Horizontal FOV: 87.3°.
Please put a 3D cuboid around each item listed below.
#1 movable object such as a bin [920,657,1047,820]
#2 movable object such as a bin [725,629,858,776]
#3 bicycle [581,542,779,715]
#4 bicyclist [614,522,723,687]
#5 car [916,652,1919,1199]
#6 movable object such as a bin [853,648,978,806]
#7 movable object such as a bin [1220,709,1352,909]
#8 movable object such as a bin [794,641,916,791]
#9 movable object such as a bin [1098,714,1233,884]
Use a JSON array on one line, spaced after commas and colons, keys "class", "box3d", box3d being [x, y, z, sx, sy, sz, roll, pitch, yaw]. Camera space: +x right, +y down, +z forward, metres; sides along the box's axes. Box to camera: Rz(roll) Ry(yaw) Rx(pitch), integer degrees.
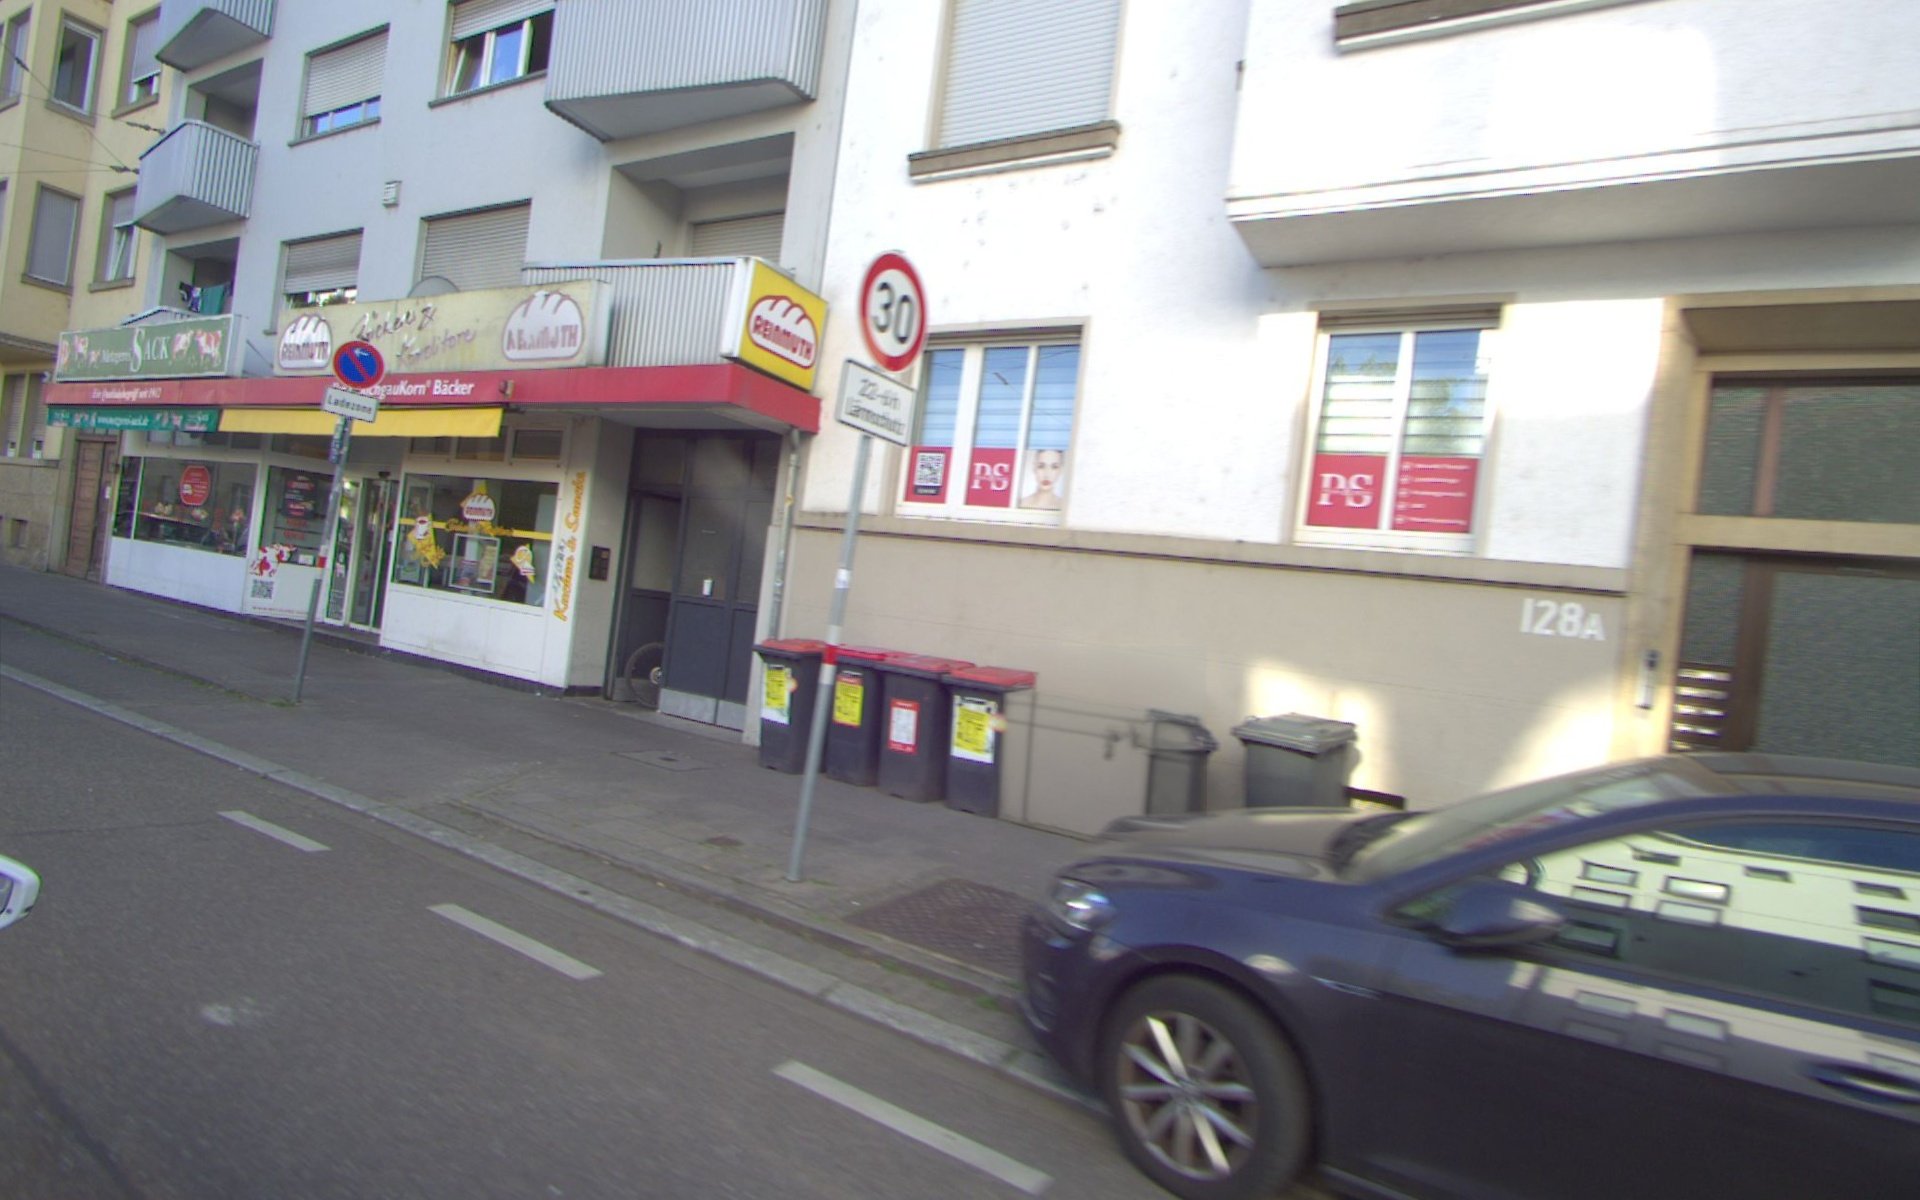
[{"class": "movable object such as a bin", "box3d": [0.184, 1.011, 7.496, 0.560, 1.085, 0.677, 7, -1, 30]}, {"class": "movable object such as a bin", "box3d": [-1.381, 0.838, 8.307, 0.607, 1.085, 0.771, 7, -1, 30]}, {"class": "bicycle", "box3d": [-3.101, 0.367, 11.365, 0.763, 1.730, 1.933, 7, -1, 34]}, {"class": "bicyclist", "box3d": [-3.237, 0.062, 11.213, 0.502, 1.722, 0.843, 7, -1, 35]}, {"class": "car", "box3d": [2.166, 1.123, 2.841, 4.287, 1.426, 1.711, 7, 2, 33]}, {"class": "movable object such as a bin", "box3d": [-0.336, 0.962, 7.767, 0.560, 1.085, 0.677, 7, -1, 30]}, {"class": "movable object such as a bin", "box3d": [2.008, 1.243, 6.172, 0.545, 1.069, 0.559, 7, -1, 30]}, {"class": "movable object such as a bin", "box3d": [-0.830, 0.917, 8.075, 0.560, 1.085, 0.677, 7, -1, 30]}, {"class": "movable object such as a bin", "box3d": [1.322, 1.233, 6.424, 0.560, 0.927, 0.656, 7, -1, 30]}]
